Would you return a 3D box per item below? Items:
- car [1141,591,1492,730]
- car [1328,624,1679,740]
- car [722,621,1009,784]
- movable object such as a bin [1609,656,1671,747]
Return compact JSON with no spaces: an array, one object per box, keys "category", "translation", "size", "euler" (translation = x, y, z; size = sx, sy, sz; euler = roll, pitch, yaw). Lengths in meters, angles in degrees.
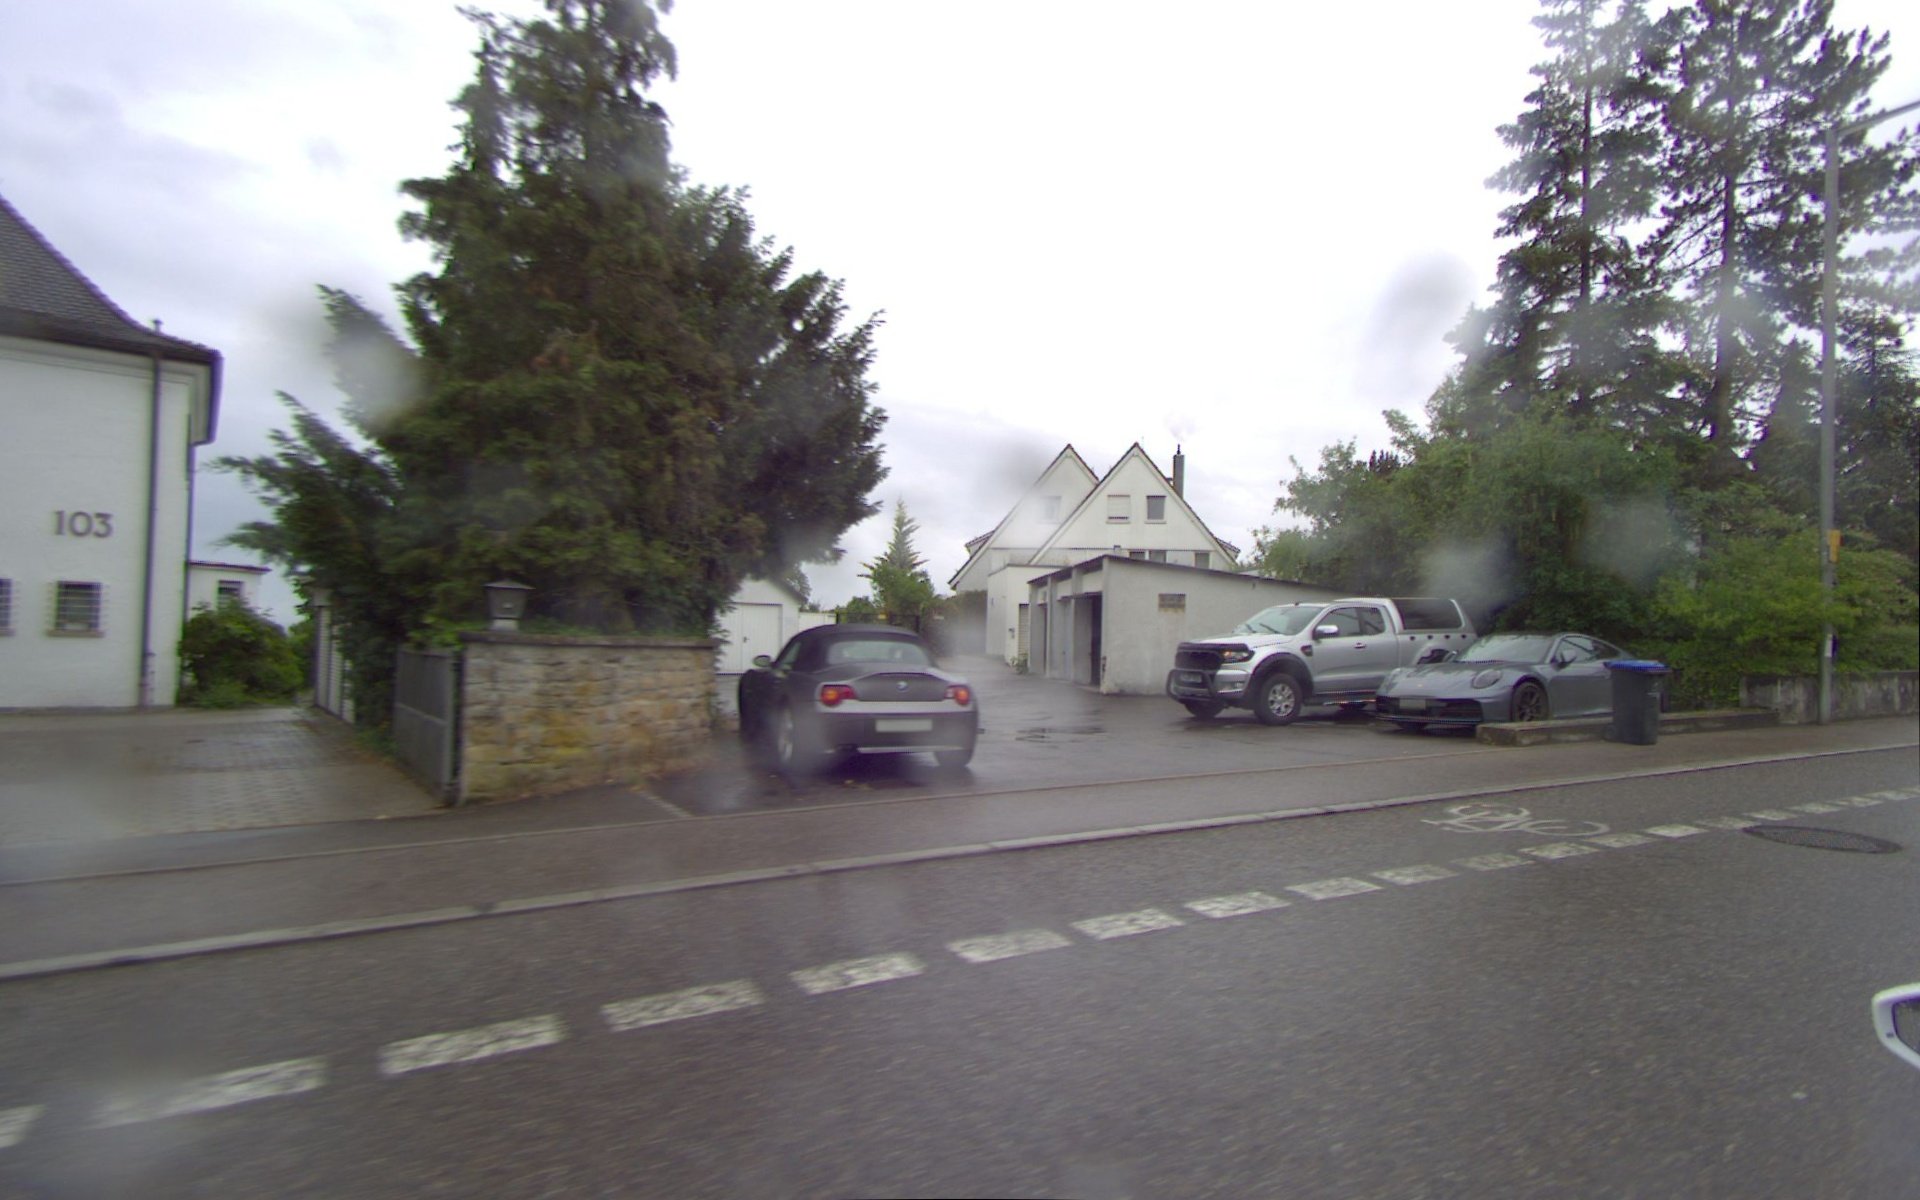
[{"category":"car","translation":[5.610,0.878,15.646],"size":[5.406,1.868,1.987],"euler":[1,-1,-27]},{"category":"car","translation":[7.249,1.001,13.361],"size":[4.376,1.325,1.987],"euler":[1,-2,-27]},{"category":"car","translation":[-1.168,0.874,10.196],"size":[1.846,1.288,3.979],"euler":[1,-1,-22]},{"category":"movable object such as a bin","translation":[7.799,1.149,11.525],"size":[0.552,1.001,0.369],"euler":[1,-2,-29]}]
